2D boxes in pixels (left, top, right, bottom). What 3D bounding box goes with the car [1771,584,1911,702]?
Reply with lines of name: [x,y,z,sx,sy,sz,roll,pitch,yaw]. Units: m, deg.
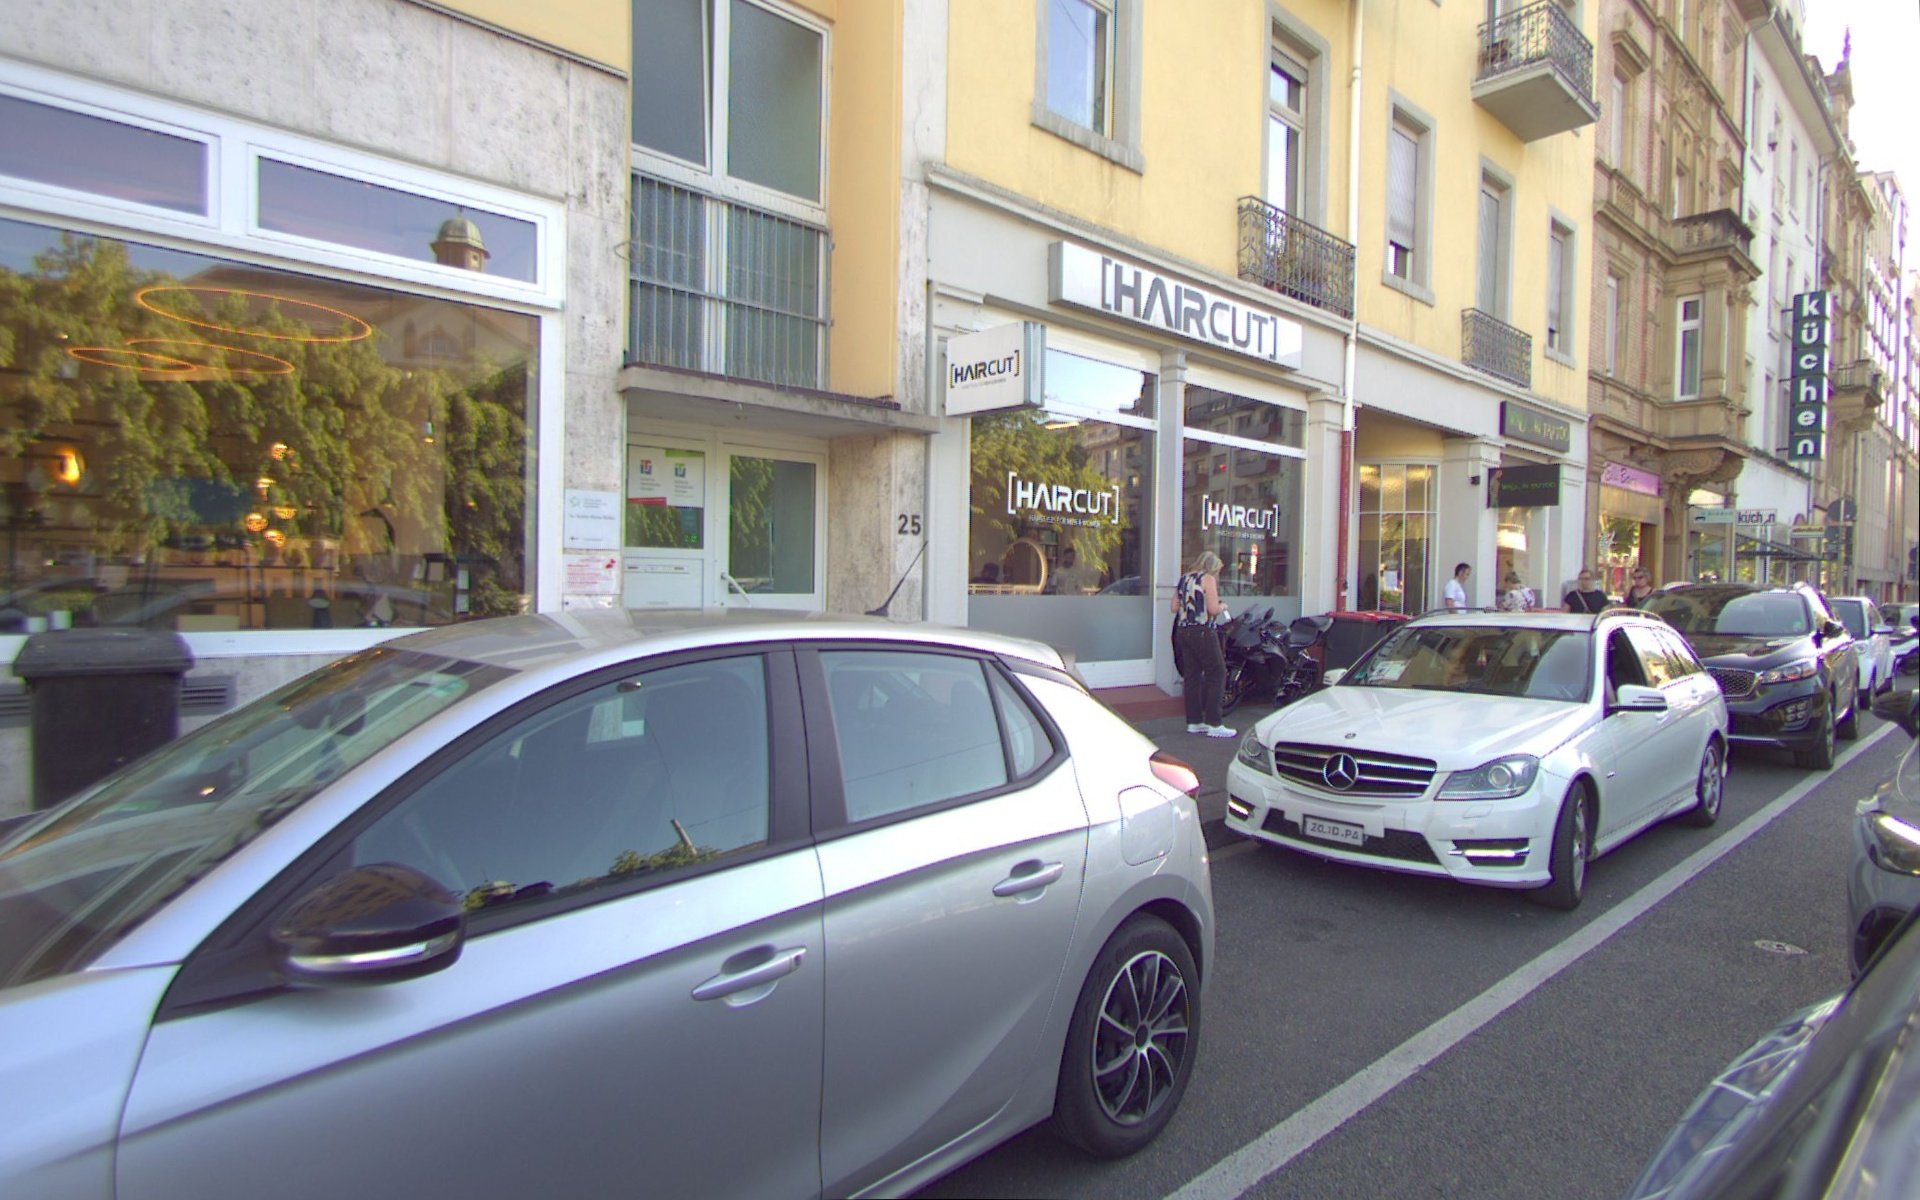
car: [12.829,0.548,14.697,2.748,1.537,1.273,0,1,-44]

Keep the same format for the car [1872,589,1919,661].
car: [22.065,0.525,22.970,4.096,1.537,1.734,0,1,-44]

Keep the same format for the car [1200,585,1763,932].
car: [3.543,0.657,6.439,4.387,1.465,1.741,0,1,-42]

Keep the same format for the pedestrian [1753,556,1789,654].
pedestrian: [14.972,0.091,18.683,0.473,1.785,0.434,0,0,-41]

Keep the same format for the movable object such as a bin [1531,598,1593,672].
movable object such as a bin: [9.312,0.529,15.652,0.608,1.079,0.606,0,4,-41]

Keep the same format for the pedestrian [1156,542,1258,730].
pedestrian: [2.271,0.303,9.325,0.523,1.653,0.697,0,2,-43]

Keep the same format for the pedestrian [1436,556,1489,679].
pedestrian: [6.985,0.231,14.070,0.513,1.681,0.339,1,2,-22]

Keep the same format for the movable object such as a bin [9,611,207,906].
movable object such as a bin: [-3.659,0.619,4.366,0.609,1.080,0.704,0,4,-41]

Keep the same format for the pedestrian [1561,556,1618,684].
pedestrian: [8.345,0.250,13.432,0.613,1.653,0.458,1,0,30]

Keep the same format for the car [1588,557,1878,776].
car: [8.025,0.504,10.328,4.498,1.758,1.756,0,1,-45]

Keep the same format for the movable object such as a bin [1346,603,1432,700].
movable object such as a bin: [5.014,0.580,11.840,0.608,1.037,0.669,1,3,-38]

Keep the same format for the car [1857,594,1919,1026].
car: [5.376,0.720,4.290,4.297,1.467,1.846,0,1,-41]

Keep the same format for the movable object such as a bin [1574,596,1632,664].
movable object such as a bin: [10.728,0.486,16.877,0.608,1.079,0.606,0,4,-41]

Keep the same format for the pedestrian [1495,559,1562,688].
pedestrian: [7.632,0.305,13.608,0.582,1.681,0.451,2,1,4]

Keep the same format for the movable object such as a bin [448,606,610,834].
movable object such as a bin: [-2.353,0.602,5.505,0.609,1.080,0.704,0,4,-41]

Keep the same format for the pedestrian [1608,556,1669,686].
pedestrian: [8.840,0.267,13.191,0.406,1.653,0.516,0,0,-10]

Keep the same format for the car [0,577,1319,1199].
car: [-0.870,0.680,2.417,4.010,1.445,1.671,0,1,-44]

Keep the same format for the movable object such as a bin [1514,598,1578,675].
movable object such as a bin: [8.823,0.535,15.246,0.608,1.079,0.606,0,4,-41]

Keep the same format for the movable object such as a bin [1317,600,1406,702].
movable object such as a bin: [4.530,0.556,11.430,0.608,1.054,0.661,1,3,-38]

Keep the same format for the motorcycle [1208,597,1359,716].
motorcycle: [3.389,0.537,10.504,1.975,1.105,0.551,0,3,-42]

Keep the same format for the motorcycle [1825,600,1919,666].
motorcycle: [19.000,0.659,20.477,2.137,1.295,0.866,1,0,8]

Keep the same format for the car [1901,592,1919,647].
car: [26.648,0.514,27.114,3.736,1.435,1.736,0,1,-41]
